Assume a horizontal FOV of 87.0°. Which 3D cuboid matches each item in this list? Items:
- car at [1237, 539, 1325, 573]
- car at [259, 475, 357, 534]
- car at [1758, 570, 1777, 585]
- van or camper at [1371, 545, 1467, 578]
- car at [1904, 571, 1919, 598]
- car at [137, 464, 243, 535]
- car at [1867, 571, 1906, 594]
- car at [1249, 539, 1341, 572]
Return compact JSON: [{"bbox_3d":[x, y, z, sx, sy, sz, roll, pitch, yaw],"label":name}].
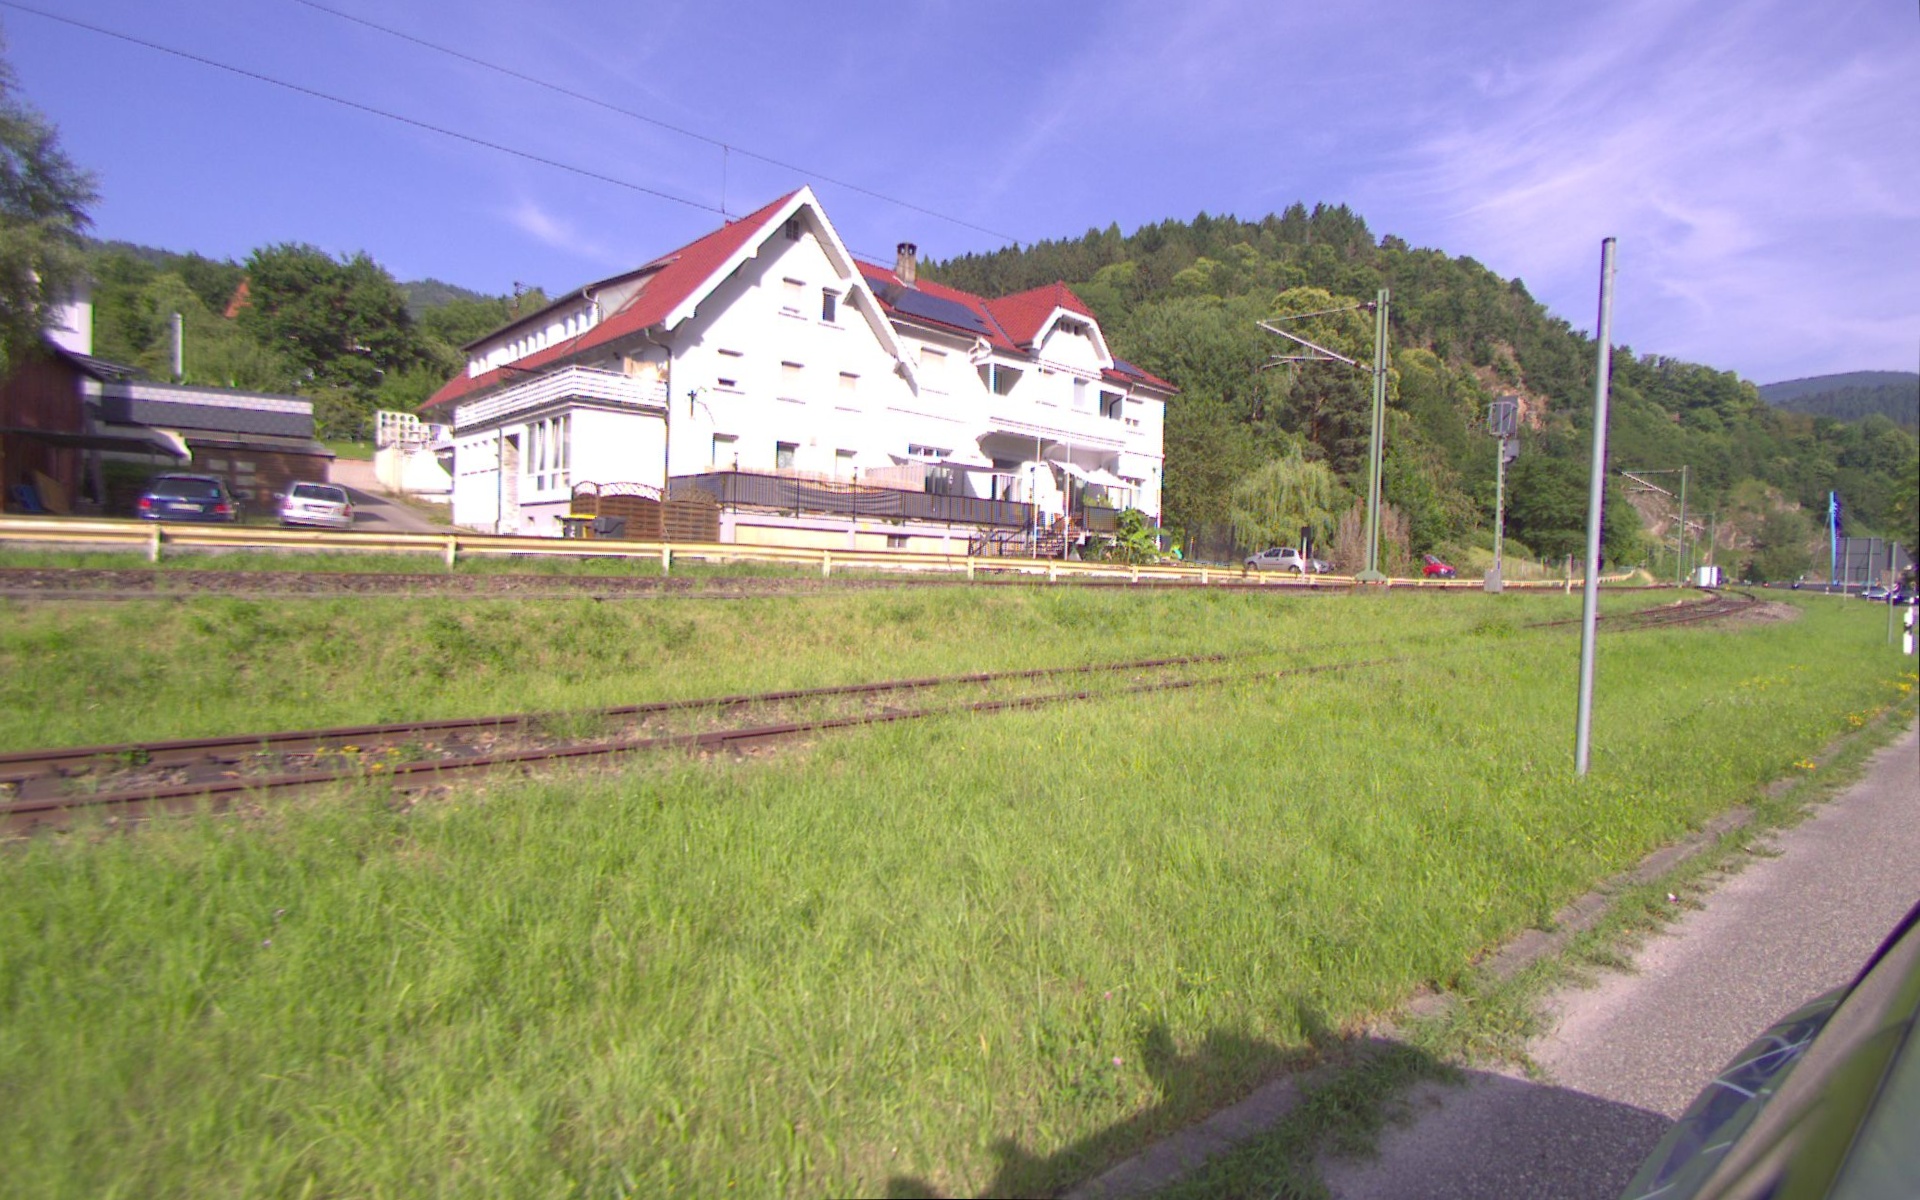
[{"bbox_3d":[16.980,-2.330,53.624,3.987,1.548,1.969,5,3,42],"label":"car"},{"bbox_3d":[-17.846,-2.631,27.627,1.792,1.392,3.999,1,5,-39],"label":"car"},{"bbox_3d":[119.144,-3.281,149.331,1.991,2.037,3.946,5,4,38],"label":"car"},{"bbox_3d":[30.730,-2.601,67.849,2.084,1.952,5.427,0,5,-42],"label":"van or camper"},{"bbox_3d":[76.032,-1.211,79.900,1.994,2.037,3.940,6,4,42],"label":"car"},{"bbox_3d":[-17.520,-2.280,23.099,1.791,1.392,4.001,1,5,-37],"label":"car"},{"bbox_3d":[87.619,-1.688,95.770,1.988,2.037,3.952,5,4,34],"label":"car"},{"bbox_3d":[18.436,-2.470,55.753,4.313,1.548,1.969,5,3,42],"label":"car"}]
